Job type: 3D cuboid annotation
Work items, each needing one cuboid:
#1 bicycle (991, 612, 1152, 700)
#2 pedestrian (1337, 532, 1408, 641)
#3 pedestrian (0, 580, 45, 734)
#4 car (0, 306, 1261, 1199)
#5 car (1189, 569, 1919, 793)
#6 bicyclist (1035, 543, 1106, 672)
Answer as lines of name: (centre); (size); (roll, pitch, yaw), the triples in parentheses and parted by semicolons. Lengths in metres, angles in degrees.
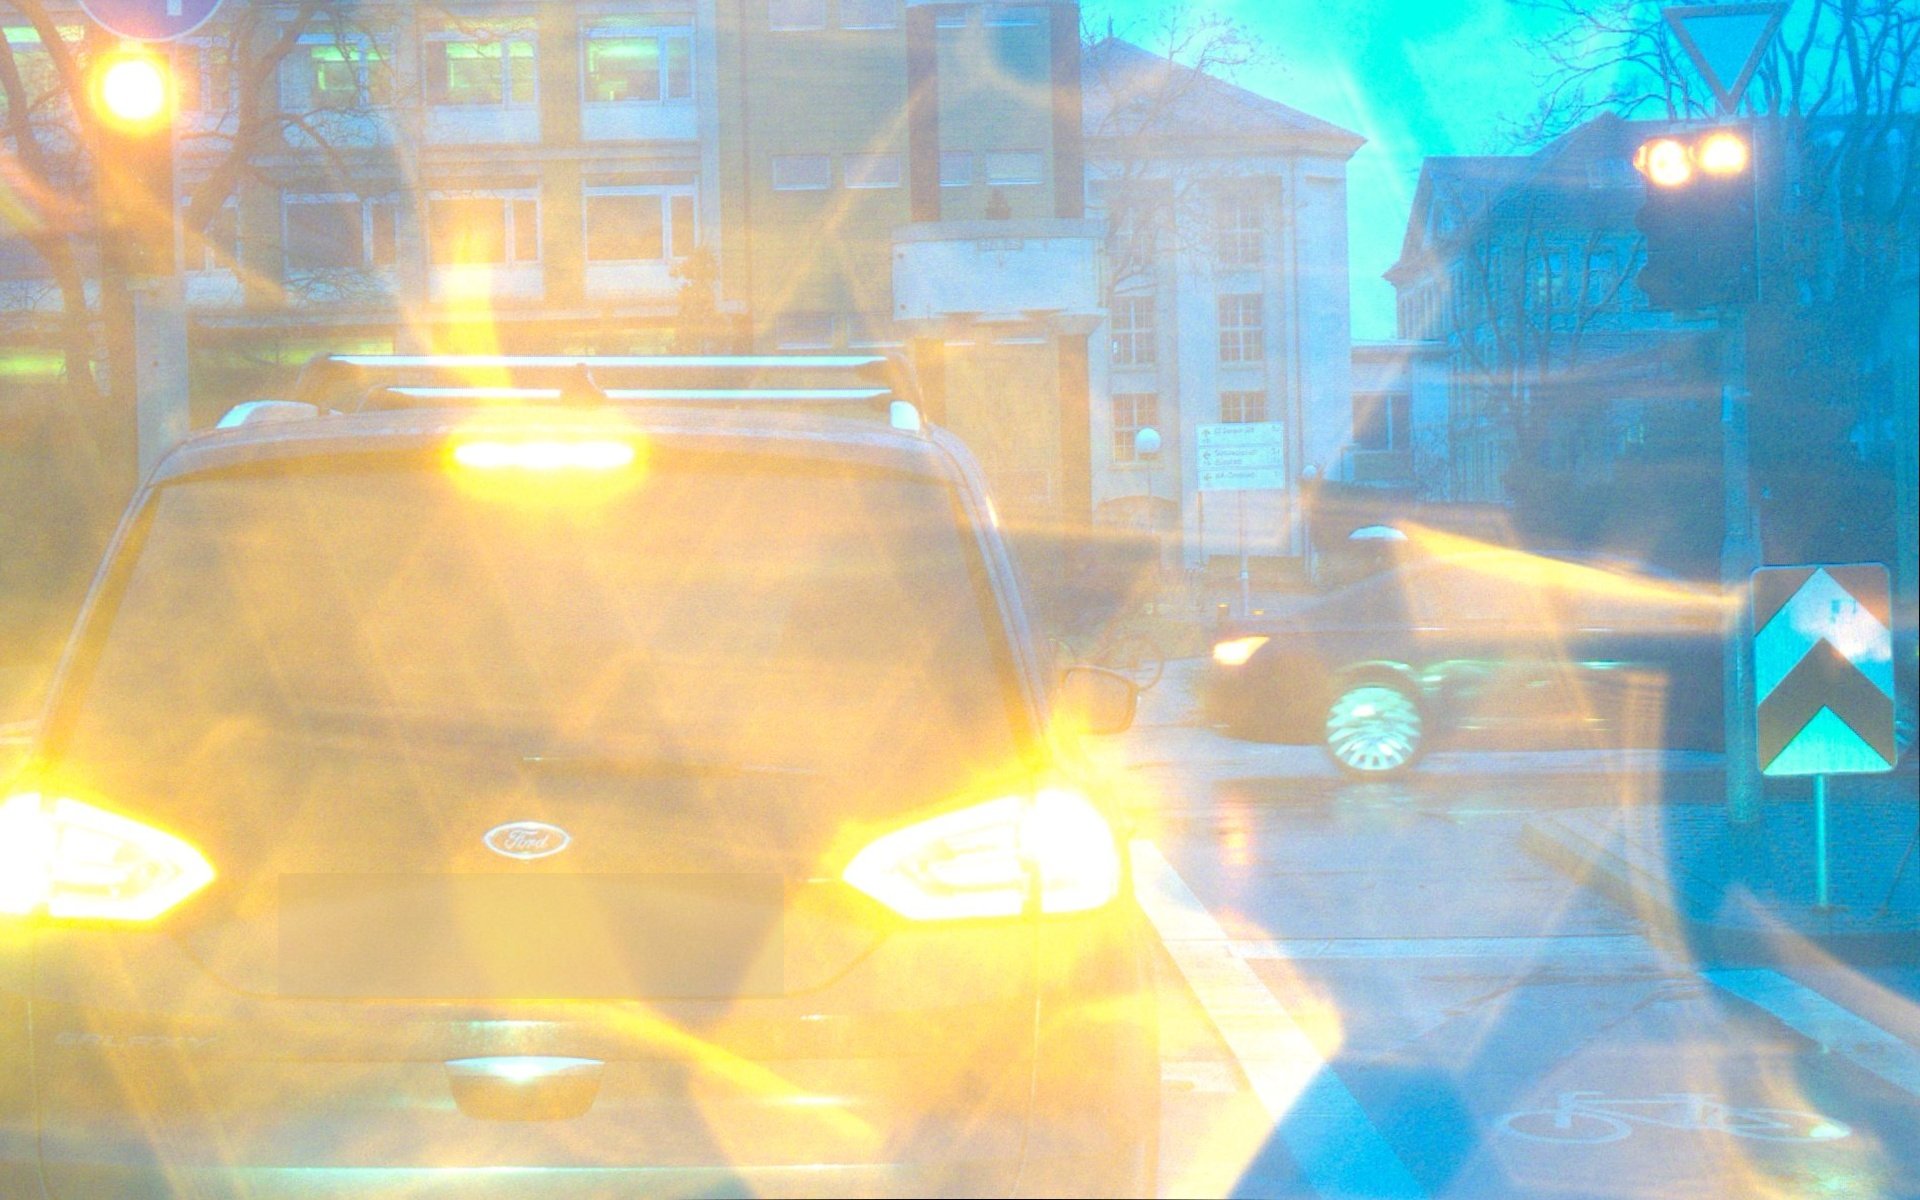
bicycle: (1.407, 0.711, 43.376); (1.885, 1.044, 0.659); (-2, 1, 19)
pedestrian: (6.288, -0.213, 52.414); (0.721, 1.622, 0.760); (-1, 2, 40)
pedestrian: (-12.224, 0.723, 42.820); (1.002, 1.836, 1.138); (-2, 3, 23)
car: (-0.632, 0.491, 6.565); (1.993, 1.783, 4.000); (1, 1, -1)
car: (3.958, 0.514, 22.545); (4.685, 1.297, 1.938); (-2, 0, 10)
bicyclist: (1.393, 0.088, 43.353); (0.685, 1.594, 0.659); (-2, 1, 18)
